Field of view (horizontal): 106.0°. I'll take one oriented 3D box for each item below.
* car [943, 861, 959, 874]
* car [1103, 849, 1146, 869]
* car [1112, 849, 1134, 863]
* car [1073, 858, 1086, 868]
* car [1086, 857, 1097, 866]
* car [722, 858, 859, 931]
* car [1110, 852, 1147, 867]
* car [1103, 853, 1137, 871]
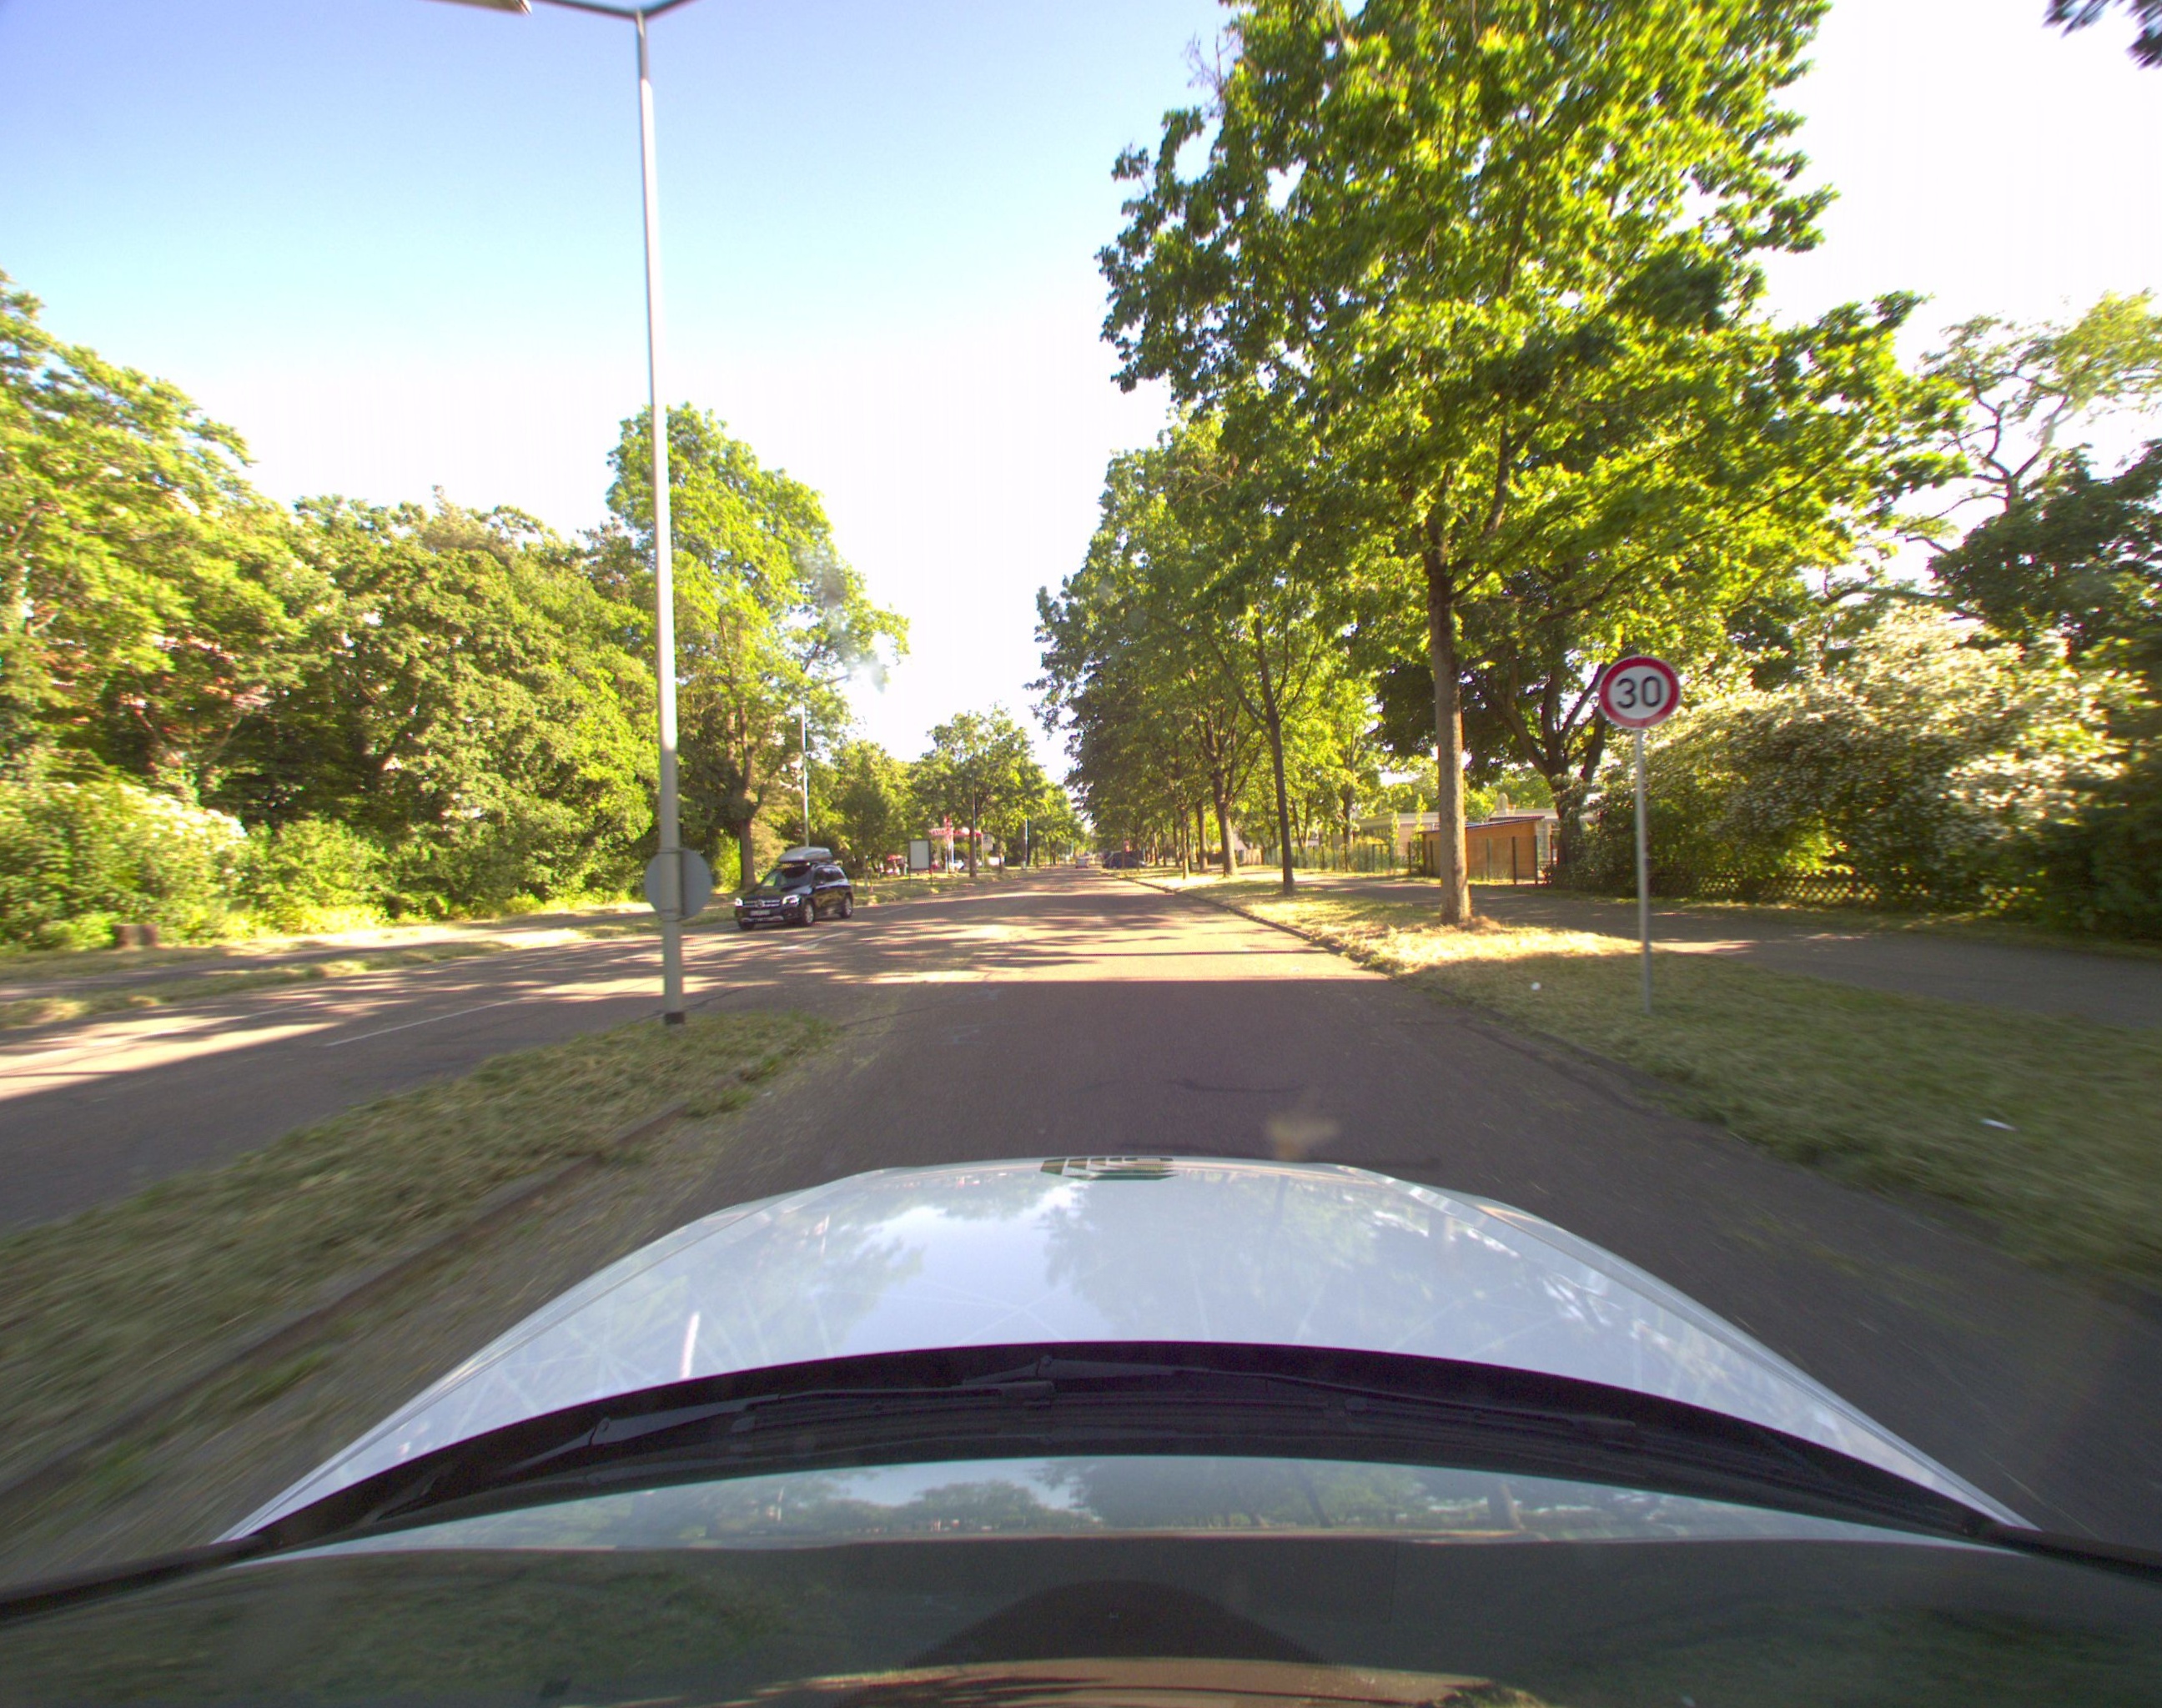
[{"bbox_3d":[-19.547,2.022,122.250,1.796,1.823,3.802,-3,-2,-1],"label":"car"},{"bbox_3d":[4.608,0.546,87.269,4.488,1.953,1.687,-3,-2,0],"label":"car"},{"bbox_3d":[7.042,0.303,135.763,3.556,2.051,1.632,-3,-3,0],"label":"car"},{"bbox_3d":[-0.213,1.253,111.782,1.655,1.337,3.664,-3,-2,0],"label":"car"},{"bbox_3d":[1.721,1.261,136.334,1.655,1.337,3.664,-3,-2,0],"label":"car"},{"bbox_3d":[-7.812,1.022,22.414,1.831,1.708,4.509,-3,0,4],"label":"car"},{"bbox_3d":[4.911,0.602,84.289,3.641,1.398,1.317,-3,-2,0],"label":"car"},{"bbox_3d":[4.238,0.861,89.750,3.641,1.797,1.317,-3,-2,0],"label":"car"}]
